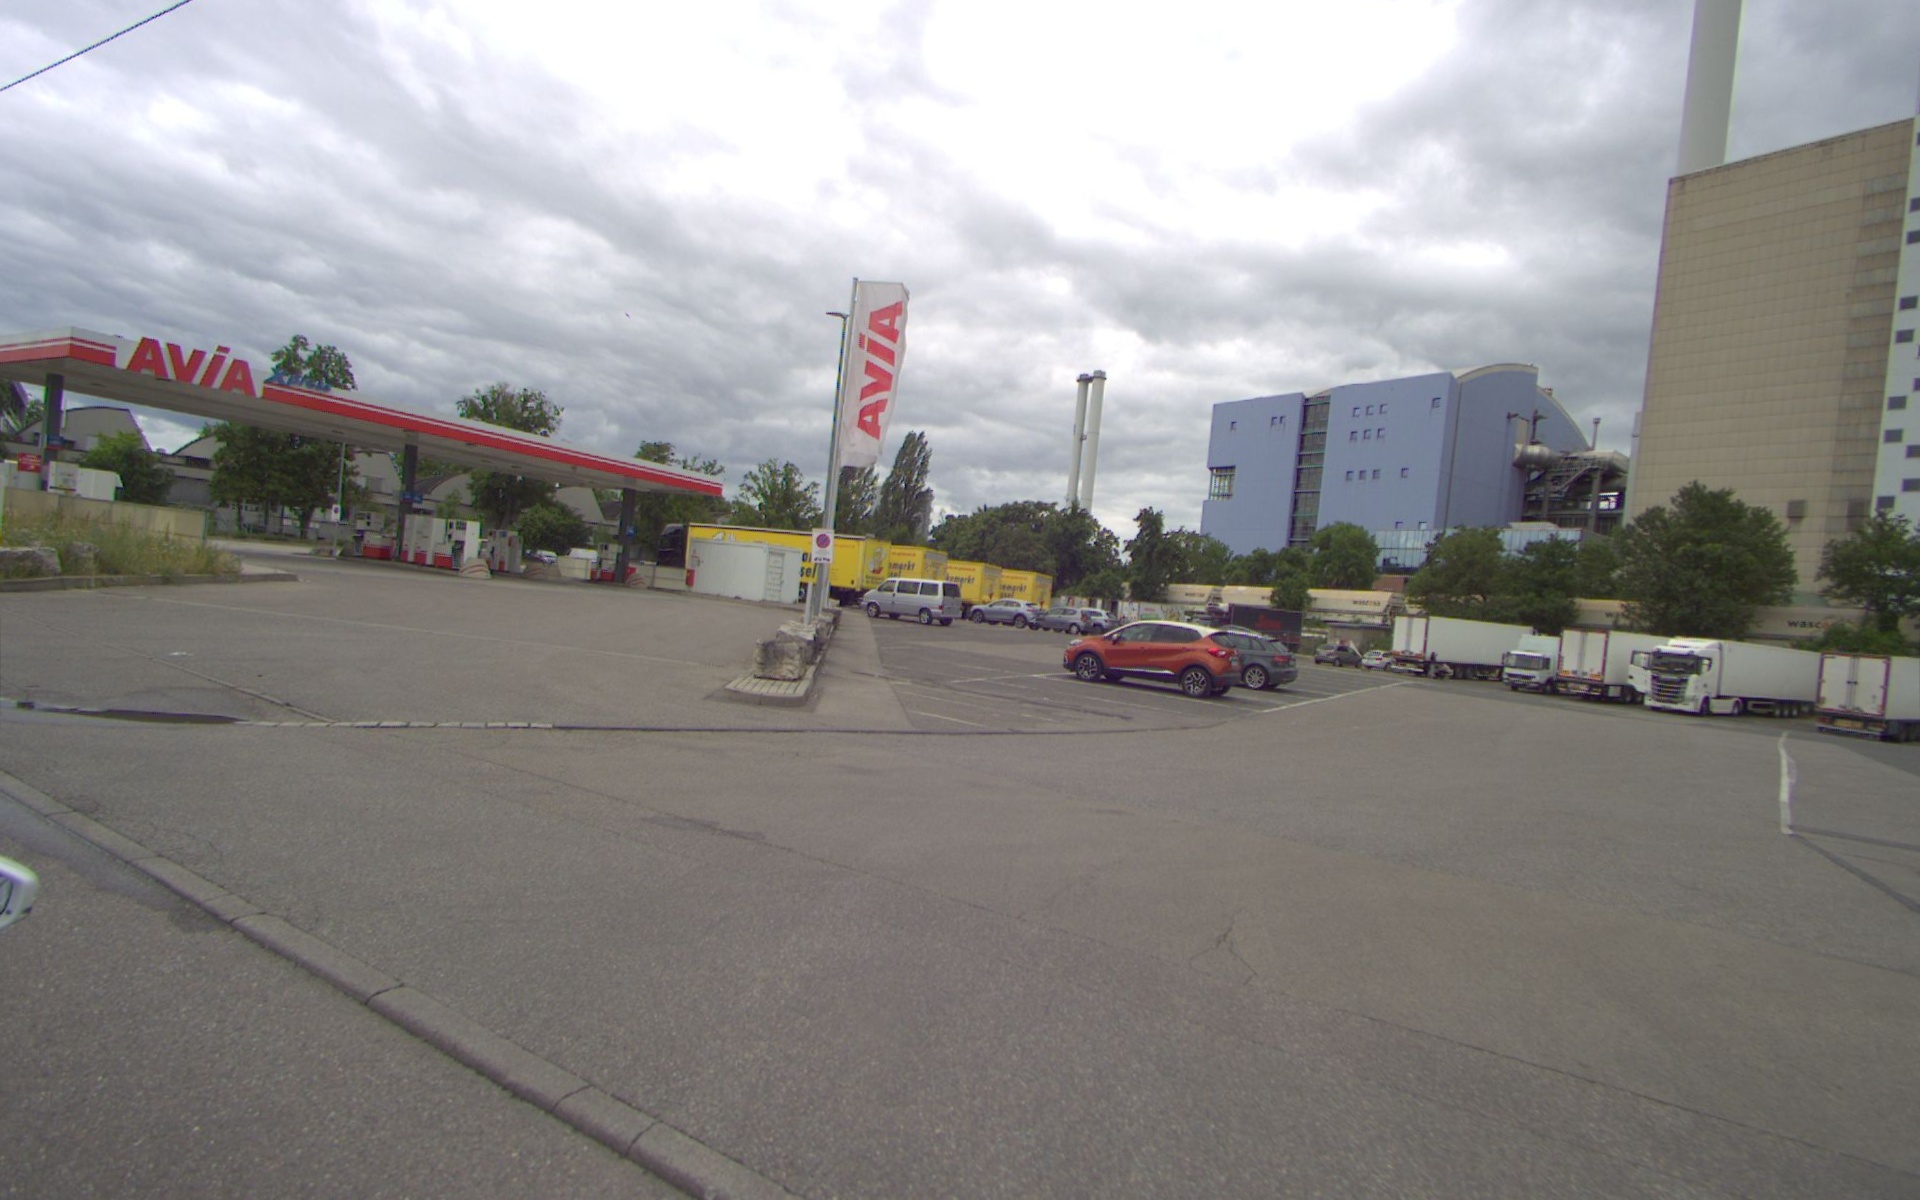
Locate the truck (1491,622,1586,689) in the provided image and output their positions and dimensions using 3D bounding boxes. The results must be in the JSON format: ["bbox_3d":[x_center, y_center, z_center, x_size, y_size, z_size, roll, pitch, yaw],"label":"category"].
[{"bbox_3d":[44.627,4.276,77.594,6.588,4.487,3.517,6,0,-34],"label":"truck"}]

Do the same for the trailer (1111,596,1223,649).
[{"bbox_3d":[21.827,2.403,105.381,12.455,4.356,3.527,6,-1,-34],"label":"trailer"}]

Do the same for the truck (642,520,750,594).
[{"bbox_3d":[-16.523,-2.703,62.909,5.940,3.965,2.959,6,1,31],"label":"truck"}]

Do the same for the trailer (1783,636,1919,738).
[{"bbox_3d":[48.616,4.778,51.686,18.299,4.225,3.613,6,1,-31],"label":"trailer"}]

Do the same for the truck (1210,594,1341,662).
[{"bbox_3d":[25.514,2.285,80.986,11.854,4.344,2.848,6,0,-33],"label":"truck"}]

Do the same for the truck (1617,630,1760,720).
[{"bbox_3d":[40.356,4.172,55.700,7.179,4.172,3.680,6,1,-32],"label":"truck"}]

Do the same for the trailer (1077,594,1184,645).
[{"bbox_3d":[18.931,2.210,111.185,12.455,4.356,3.527,6,-1,-34],"label":"trailer"}]

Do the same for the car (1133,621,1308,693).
[{"bbox_3d":[7.011,1.486,27.151,4.146,1.409,1.765,6,2,31],"label":"car"}]

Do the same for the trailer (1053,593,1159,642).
[{"bbox_3d":[16.760,2.043,114.605,12.455,4.356,3.642,6,-1,-34],"label":"trailer"}]

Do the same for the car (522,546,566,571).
[{"bbox_3d":[-35.086,-3.501,84.815,2.084,1.759,4.831,5,1,-39],"label":"car"}]

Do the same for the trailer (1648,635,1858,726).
[{"bbox_3d":[48.029,5.007,60.524,18.302,4.141,3.612,6,1,-32],"label":"trailer"}]

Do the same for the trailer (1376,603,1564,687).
[{"bbox_3d":[37.064,3.386,72.443,18.110,4.556,3.527,7,-1,-34],"label":"trailer"}]

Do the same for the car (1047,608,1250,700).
[{"bbox_3d":[4.315,1.181,23.185,4.146,1.591,1.765,6,2,31],"label":"car"}]

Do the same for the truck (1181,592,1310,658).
[{"bbox_3d":[23.855,2.161,83.592,11.854,4.344,2.848,6,0,-33],"label":"truck"}]

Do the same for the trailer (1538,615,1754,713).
[{"bbox_3d":[42.485,4.102,61.809,18.092,4.556,3.531,6,-1,-31],"label":"trailer"}]

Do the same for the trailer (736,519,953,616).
[{"bbox_3d":[-7.388,-2.112,61.951,14.063,4.784,3.001,6,1,31],"label":"trailer"}]

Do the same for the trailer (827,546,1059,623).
[{"bbox_3d":[-1.630,-1.243,72.720,17.771,3.965,2.692,6,1,31],"label":"trailer"}]

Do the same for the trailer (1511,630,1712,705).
[{"bbox_3d":[44.041,4.652,67.468,18.302,3.591,3.612,6,0,-32],"label":"trailer"}]

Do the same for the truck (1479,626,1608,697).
[{"bbox_3d":[36.379,3.841,62.726,7.177,3.602,3.682,6,1,-31],"label":"truck"}]

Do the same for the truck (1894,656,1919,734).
[{"bbox_3d":[56.450,5.644,56.529,7.177,4.226,3.682,6,1,-31],"label":"truck"}]

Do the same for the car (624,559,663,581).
[{"bbox_3d":[-28.143,-2.664,89.443,1.890,1.672,4.354,5,1,-36],"label":"car"}]

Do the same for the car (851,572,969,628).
[{"bbox_3d":[-2.252,-0.012,44.992,4.869,1.936,1.985,6,1,31],"label":"car"}]

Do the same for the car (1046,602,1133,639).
[{"bbox_3d":[7.659,1.223,59.539,4.611,1.621,1.985,6,1,31],"label":"car"}]

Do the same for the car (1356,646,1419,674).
[{"bbox_3d":[31.360,4.404,73.753,4.646,1.621,1.970,6,0,-36],"label":"car"}]

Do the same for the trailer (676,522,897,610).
[{"bbox_3d":[-10.466,-2.089,59.250,14.063,3.965,3.002,6,1,31],"label":"trailer"}]

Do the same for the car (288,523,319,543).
[{"bbox_3d":[-59.155,-6.057,90.589,1.894,1.541,4.020,5,2,-39],"label":"car"}]

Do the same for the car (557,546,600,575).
[{"bbox_3d":[-32.916,-3.437,86.697,2.082,2.130,4.854,5,1,-36],"label":"car"}]

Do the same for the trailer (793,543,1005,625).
[{"bbox_3d":[-4.544,-1.216,70.012,15.463,4.315,3.022,6,1,31],"label":"trailer"}]

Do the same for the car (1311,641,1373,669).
[{"bbox_3d":[28.394,4.119,74.806,4.646,1.621,1.970,6,0,-36],"label":"car"}]

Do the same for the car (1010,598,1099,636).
[{"bbox_3d":[5.414,0.958,57.966,4.611,1.621,1.985,6,1,31],"label":"car"}]
